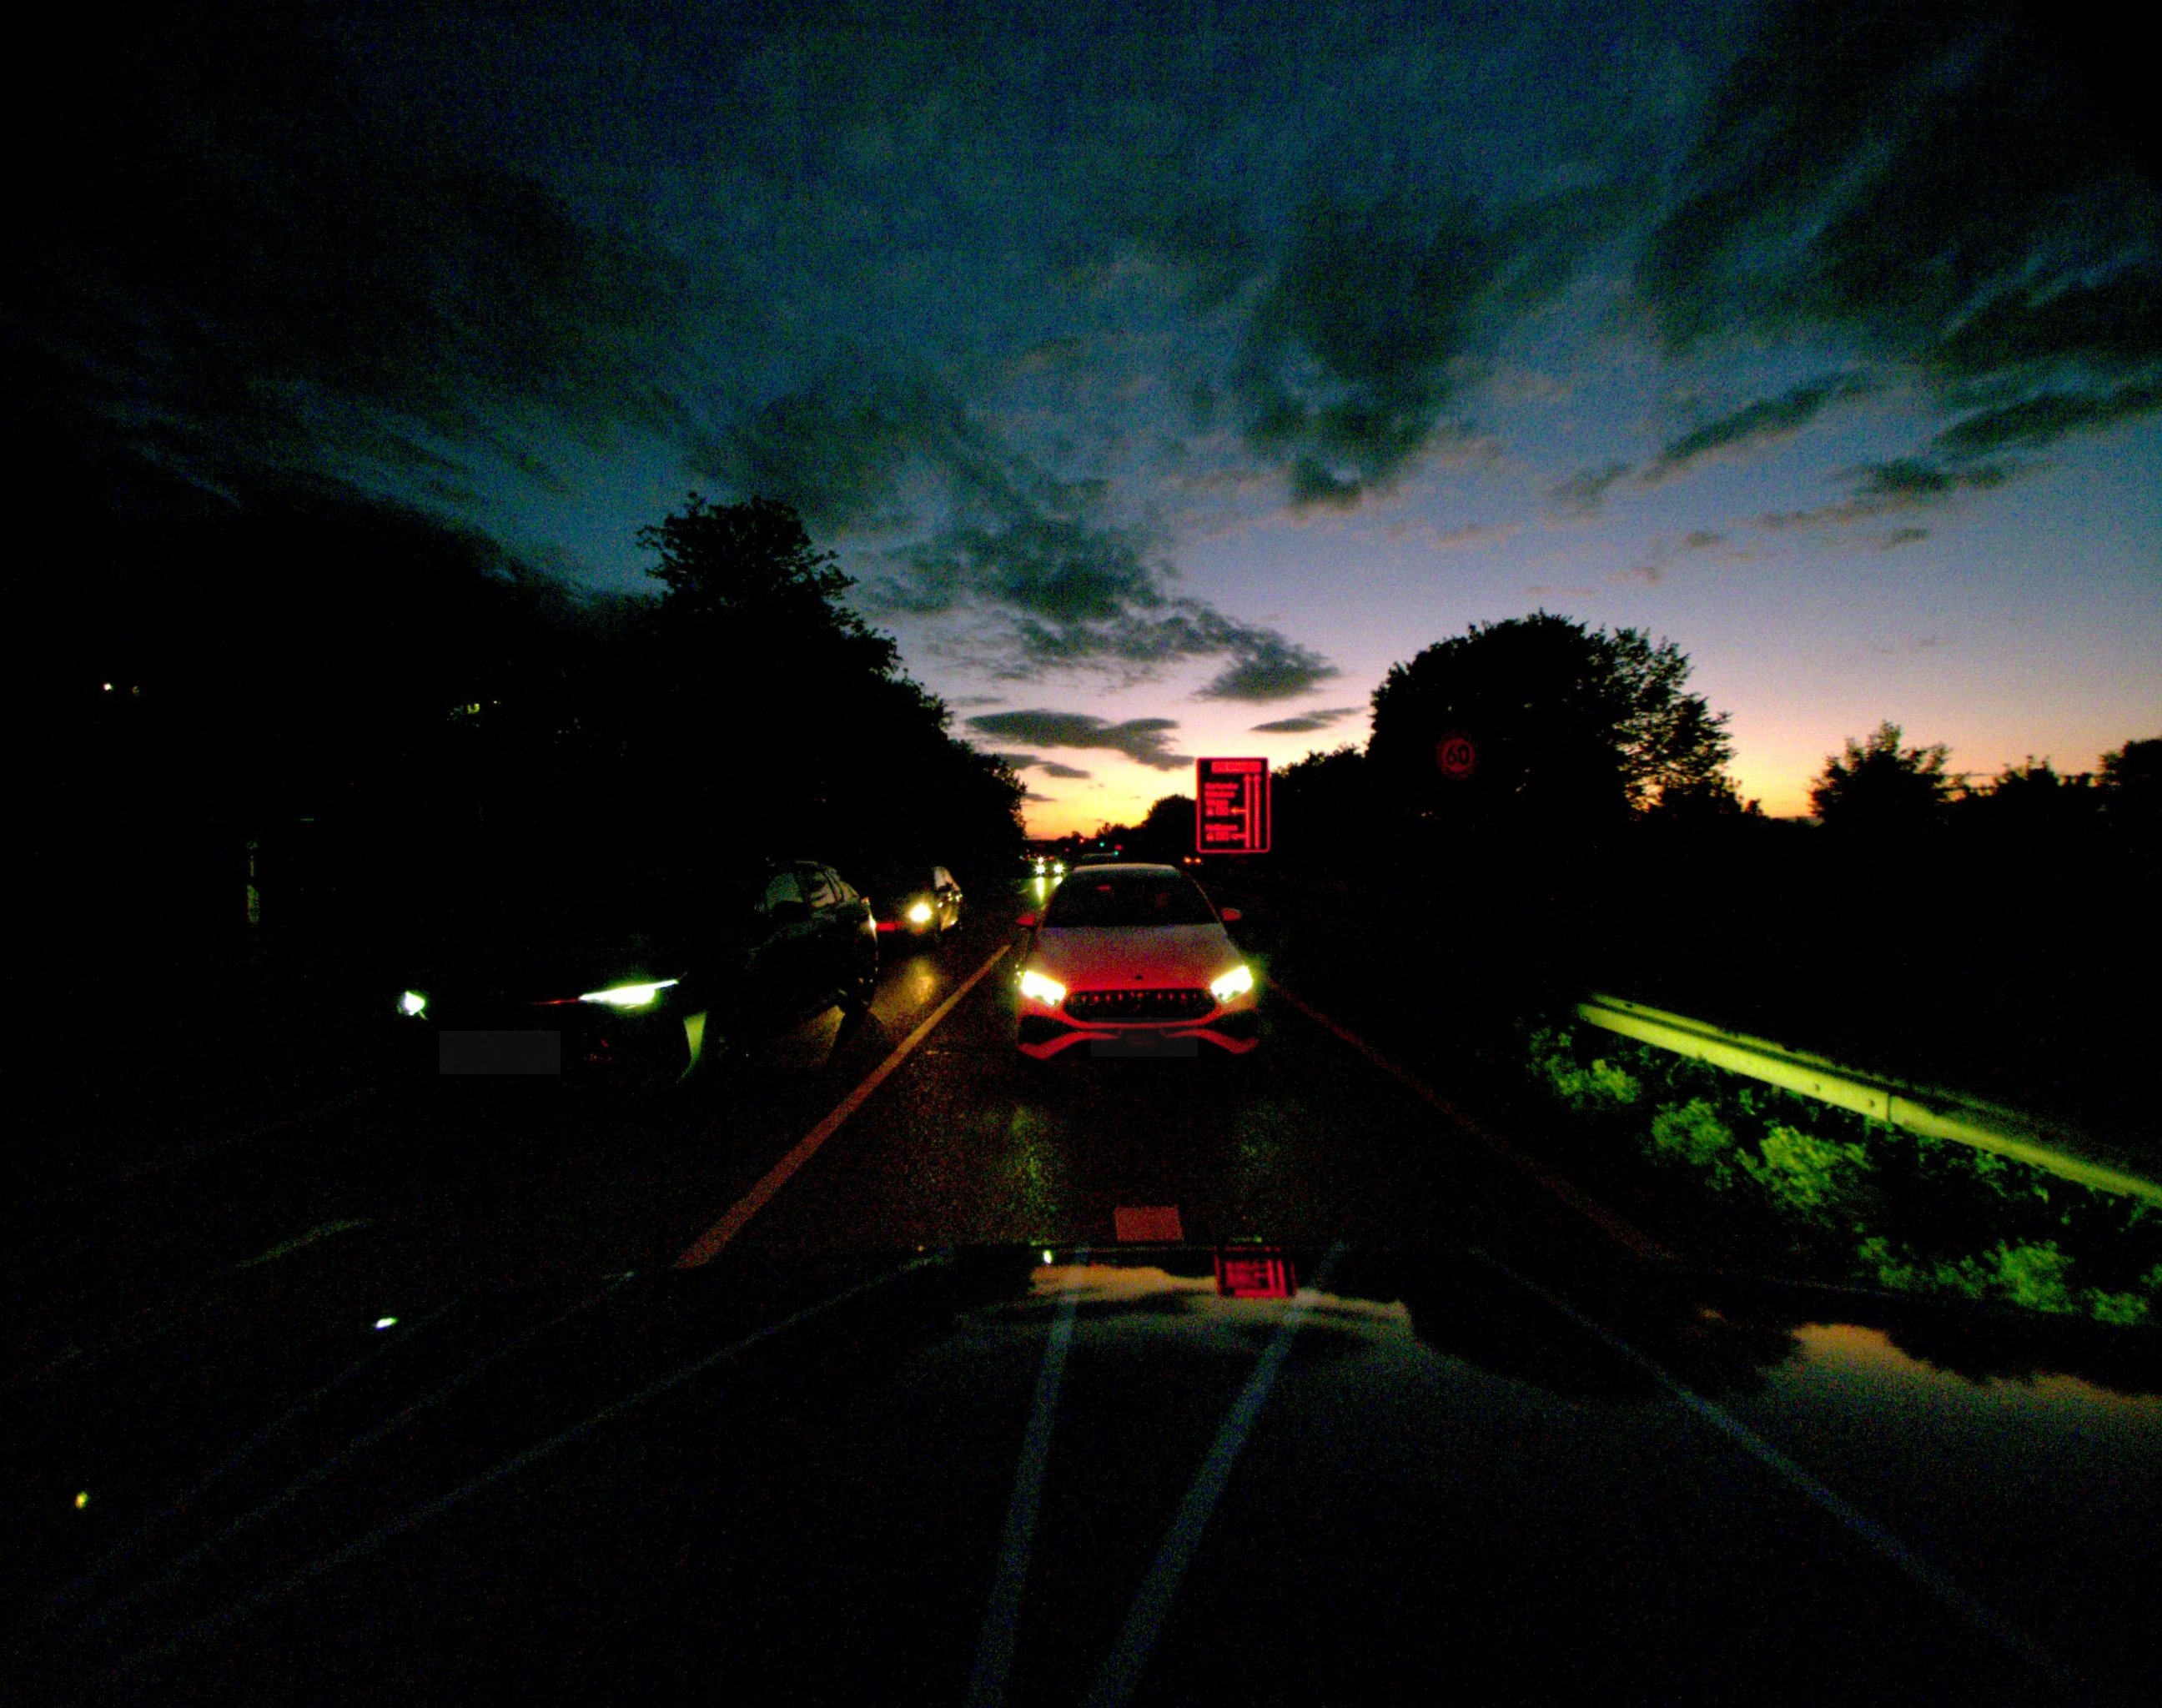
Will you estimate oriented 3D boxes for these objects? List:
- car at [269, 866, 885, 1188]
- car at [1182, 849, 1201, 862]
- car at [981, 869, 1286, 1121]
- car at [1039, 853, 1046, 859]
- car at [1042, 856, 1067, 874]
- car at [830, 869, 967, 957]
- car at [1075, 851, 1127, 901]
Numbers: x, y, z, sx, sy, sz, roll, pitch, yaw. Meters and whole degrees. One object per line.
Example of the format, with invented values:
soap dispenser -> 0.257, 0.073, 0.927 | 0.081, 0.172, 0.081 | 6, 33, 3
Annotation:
car -> -3.177, 0.936, 6.087 | 1.901, 1.547, 4.301 | -3, 0, 2
car -> 14.351, 0.180, 98.764 | 1.781, 1.551, 3.999 | -2, 1, 1
car -> 0.394, 0.921, 7.006 | 1.819, 1.428, 4.647 | -2, 0, 2
car -> -9.392, 0.404, 186.258 | 1.606, 1.291, 3.552 | -2, 1, -1
car -> -2.150, 0.882, 62.042 | 1.819, 1.360, 3.999 | -2, 1, 1
car -> -3.357, 1.038, 14.666 | 1.621, 1.405, 3.756 | -1, 0, 2
car -> 0.766, 0.788, 28.739 | 1.760, 1.692, 4.250 | -2, 0, 2
